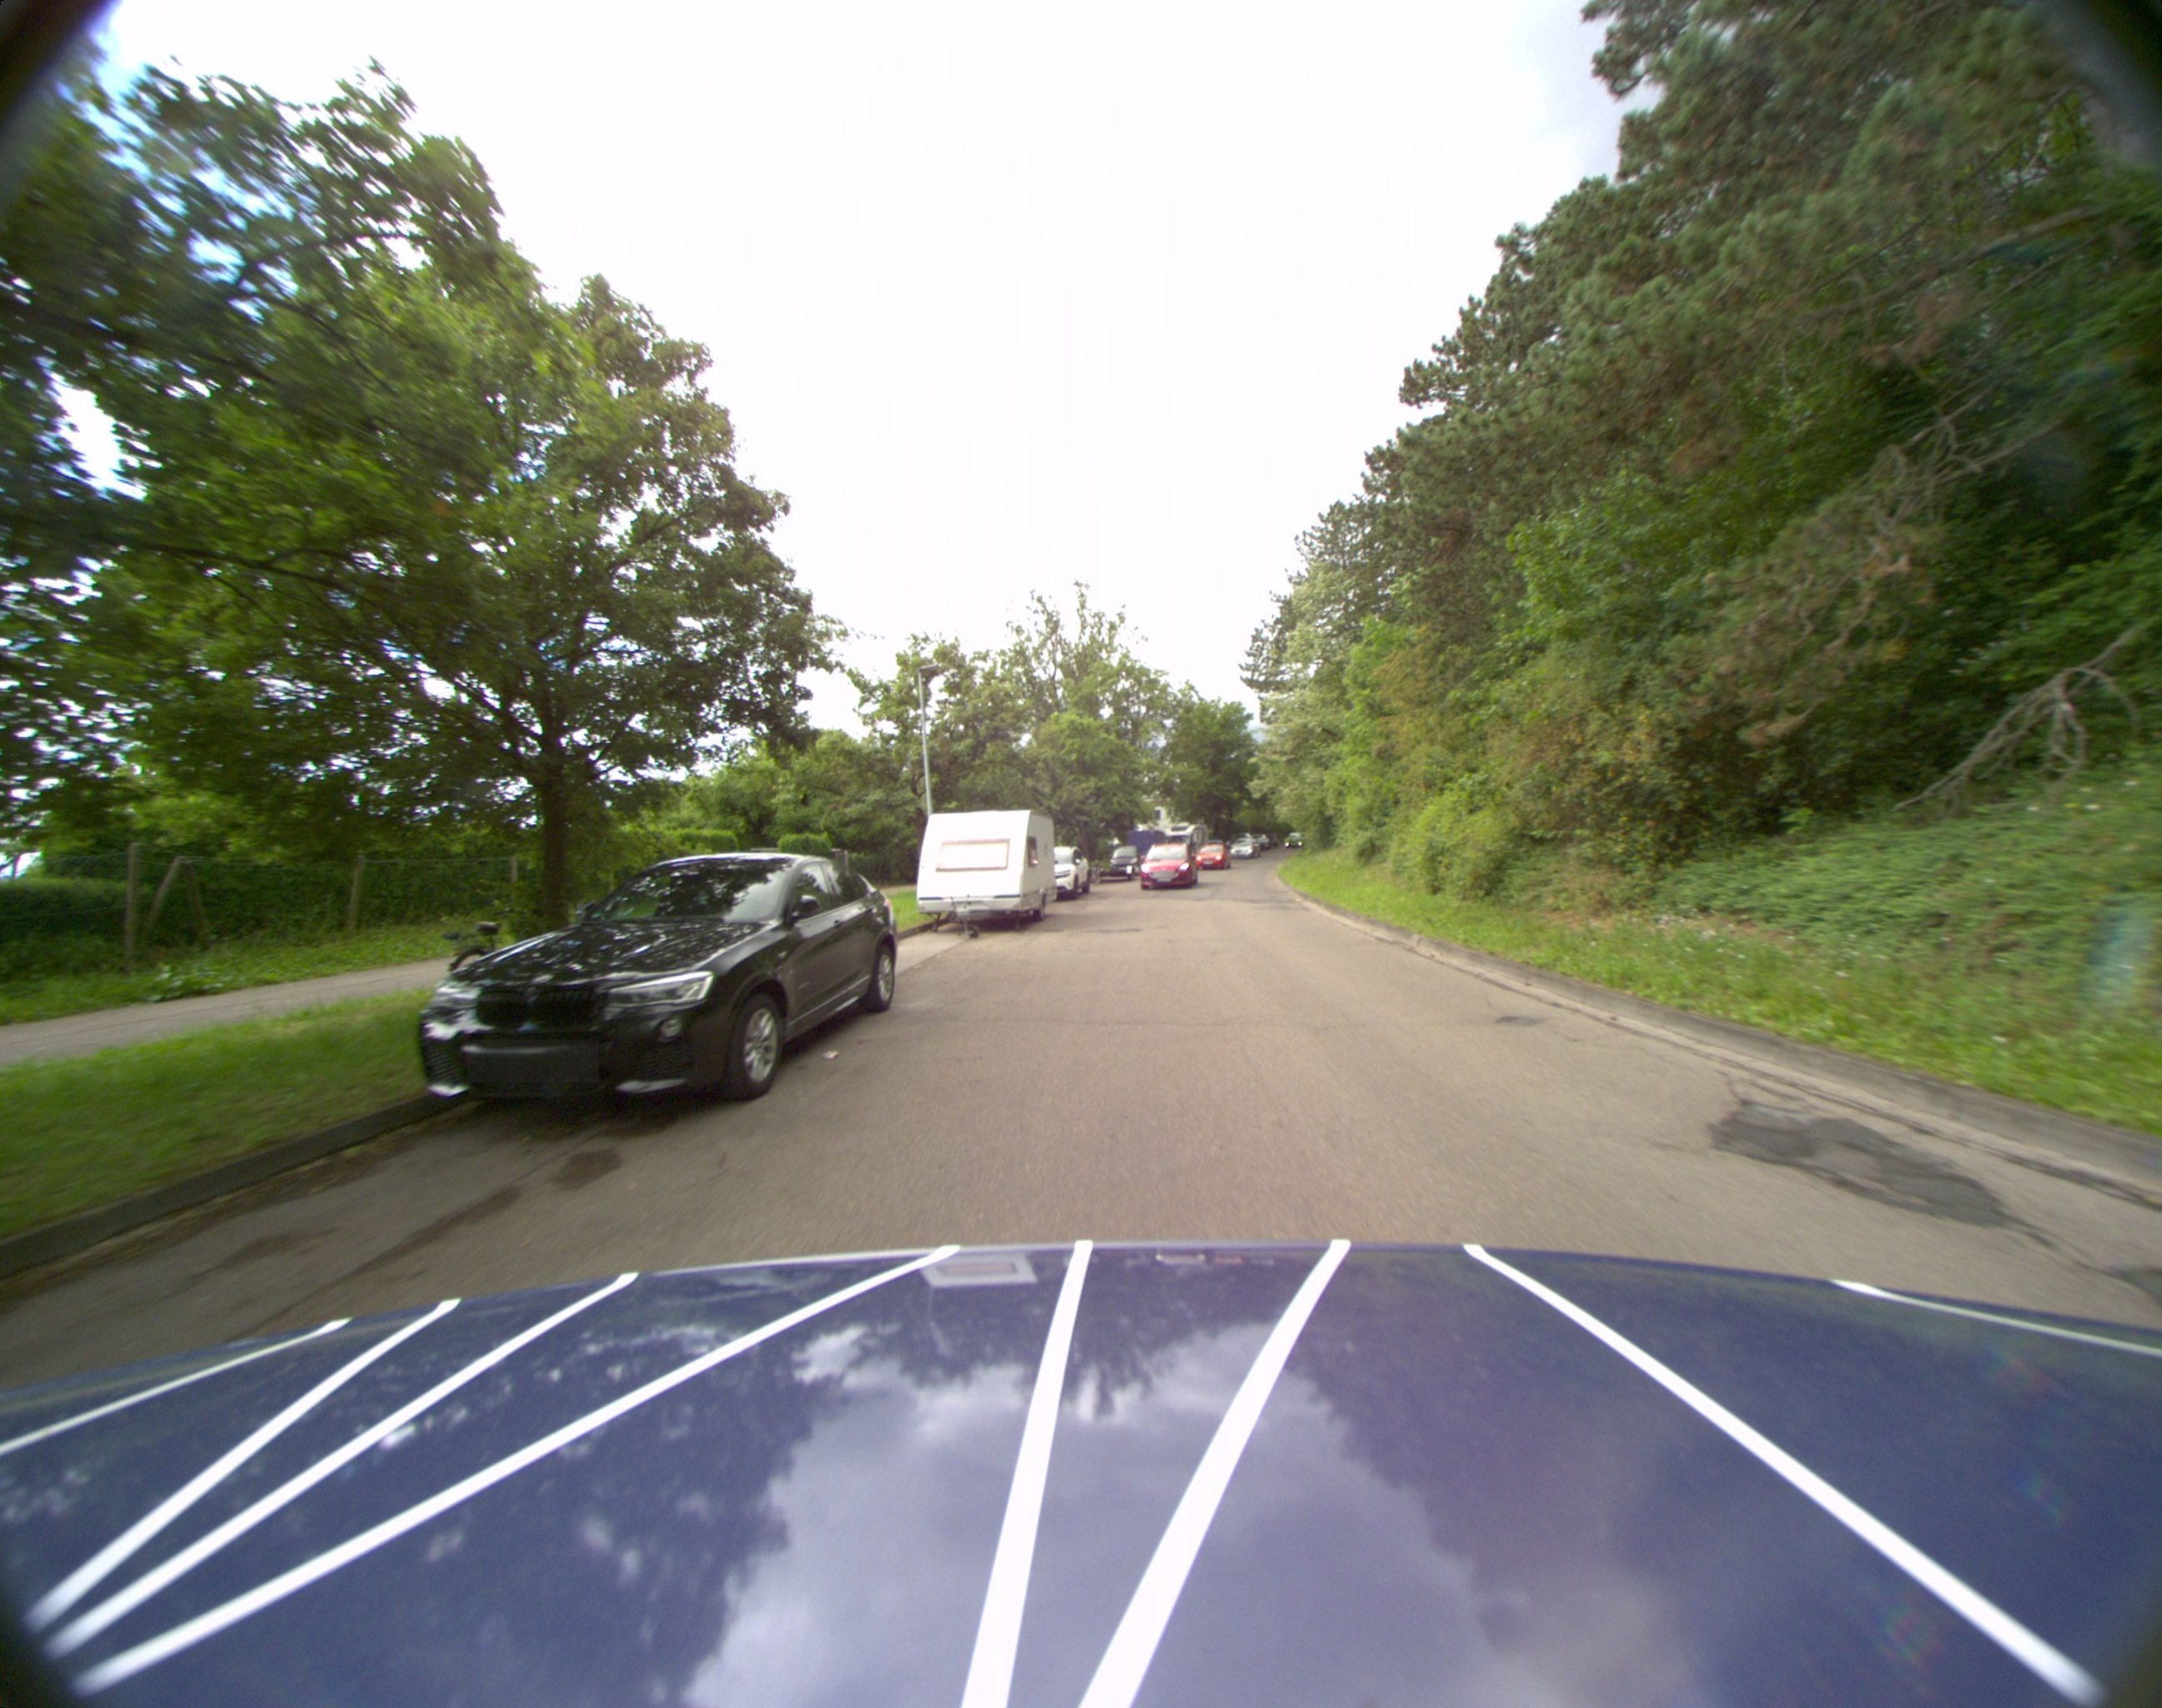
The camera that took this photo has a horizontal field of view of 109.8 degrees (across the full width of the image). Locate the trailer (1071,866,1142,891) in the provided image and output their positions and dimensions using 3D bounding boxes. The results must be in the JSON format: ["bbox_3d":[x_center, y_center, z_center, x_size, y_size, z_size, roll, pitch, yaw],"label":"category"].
[{"bbox_3d":[1.286,1.023,33.776,2.108,0.647,6.405,-3,1,11],"label":"trailer"}]

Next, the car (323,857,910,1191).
[{"bbox_3d":[-2.944,0.909,6.235,1.853,1.633,4.530,-2,1,2],"label":"car"}]

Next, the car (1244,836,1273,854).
[{"bbox_3d":[18.251,-0.964,78.004,1.842,1.675,4.607,-2,1,25],"label":"car"}]

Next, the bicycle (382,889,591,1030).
[{"bbox_3d":[-6.714,1.116,8.773,0.535,1.209,2.184,-4,3,2],"label":"bicycle"}]

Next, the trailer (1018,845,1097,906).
[{"bbox_3d":[-0.676,0.634,25.526,1.775,1.721,4.652,-1,2,9],"label":"trailer"}]

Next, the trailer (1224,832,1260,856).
[{"bbox_3d":[15.444,-0.966,72.798,1.995,1.922,5.900,-2,3,25],"label":"trailer"}]

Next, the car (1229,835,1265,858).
[{"bbox_3d":[13.299,-0.632,60.804,1.919,1.672,4.005,0,3,25],"label":"car"}]

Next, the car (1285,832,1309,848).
[{"bbox_3d":[22.818,-1.486,80.114,1.765,1.509,4.005,-3,2,25],"label":"car"}]

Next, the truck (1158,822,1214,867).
[{"bbox_3d":[7.648,-0.732,54.561,2.306,2.916,7.042,-1,1,21],"label":"truck"}]

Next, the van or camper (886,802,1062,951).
[{"bbox_3d":[-1.973,0.347,16.413,2.165,2.522,6.033,-3,1,7],"label":"van or camper"}]

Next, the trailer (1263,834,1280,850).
[{"bbox_3d":[21.156,-1.356,84.303,1.375,1.595,2.270,-3,1,25],"label":"trailer"}]

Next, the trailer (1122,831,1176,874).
[{"bbox_3d":[4.022,-0.053,44.206,2.109,2.348,4.708,-1,0,18],"label":"trailer"}]

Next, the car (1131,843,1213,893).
[{"bbox_3d":[3.550,0.474,28.904,1.996,1.619,4.631,-3,1,20],"label":"car"}]

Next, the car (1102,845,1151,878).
[{"bbox_3d":[2.392,0.365,39.471,1.731,1.513,3.409,-3,0,17],"label":"car"}]

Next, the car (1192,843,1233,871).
[{"bbox_3d":[7.747,0.140,44.430,1.865,1.440,4.180,-2,1,17],"label":"car"}]
